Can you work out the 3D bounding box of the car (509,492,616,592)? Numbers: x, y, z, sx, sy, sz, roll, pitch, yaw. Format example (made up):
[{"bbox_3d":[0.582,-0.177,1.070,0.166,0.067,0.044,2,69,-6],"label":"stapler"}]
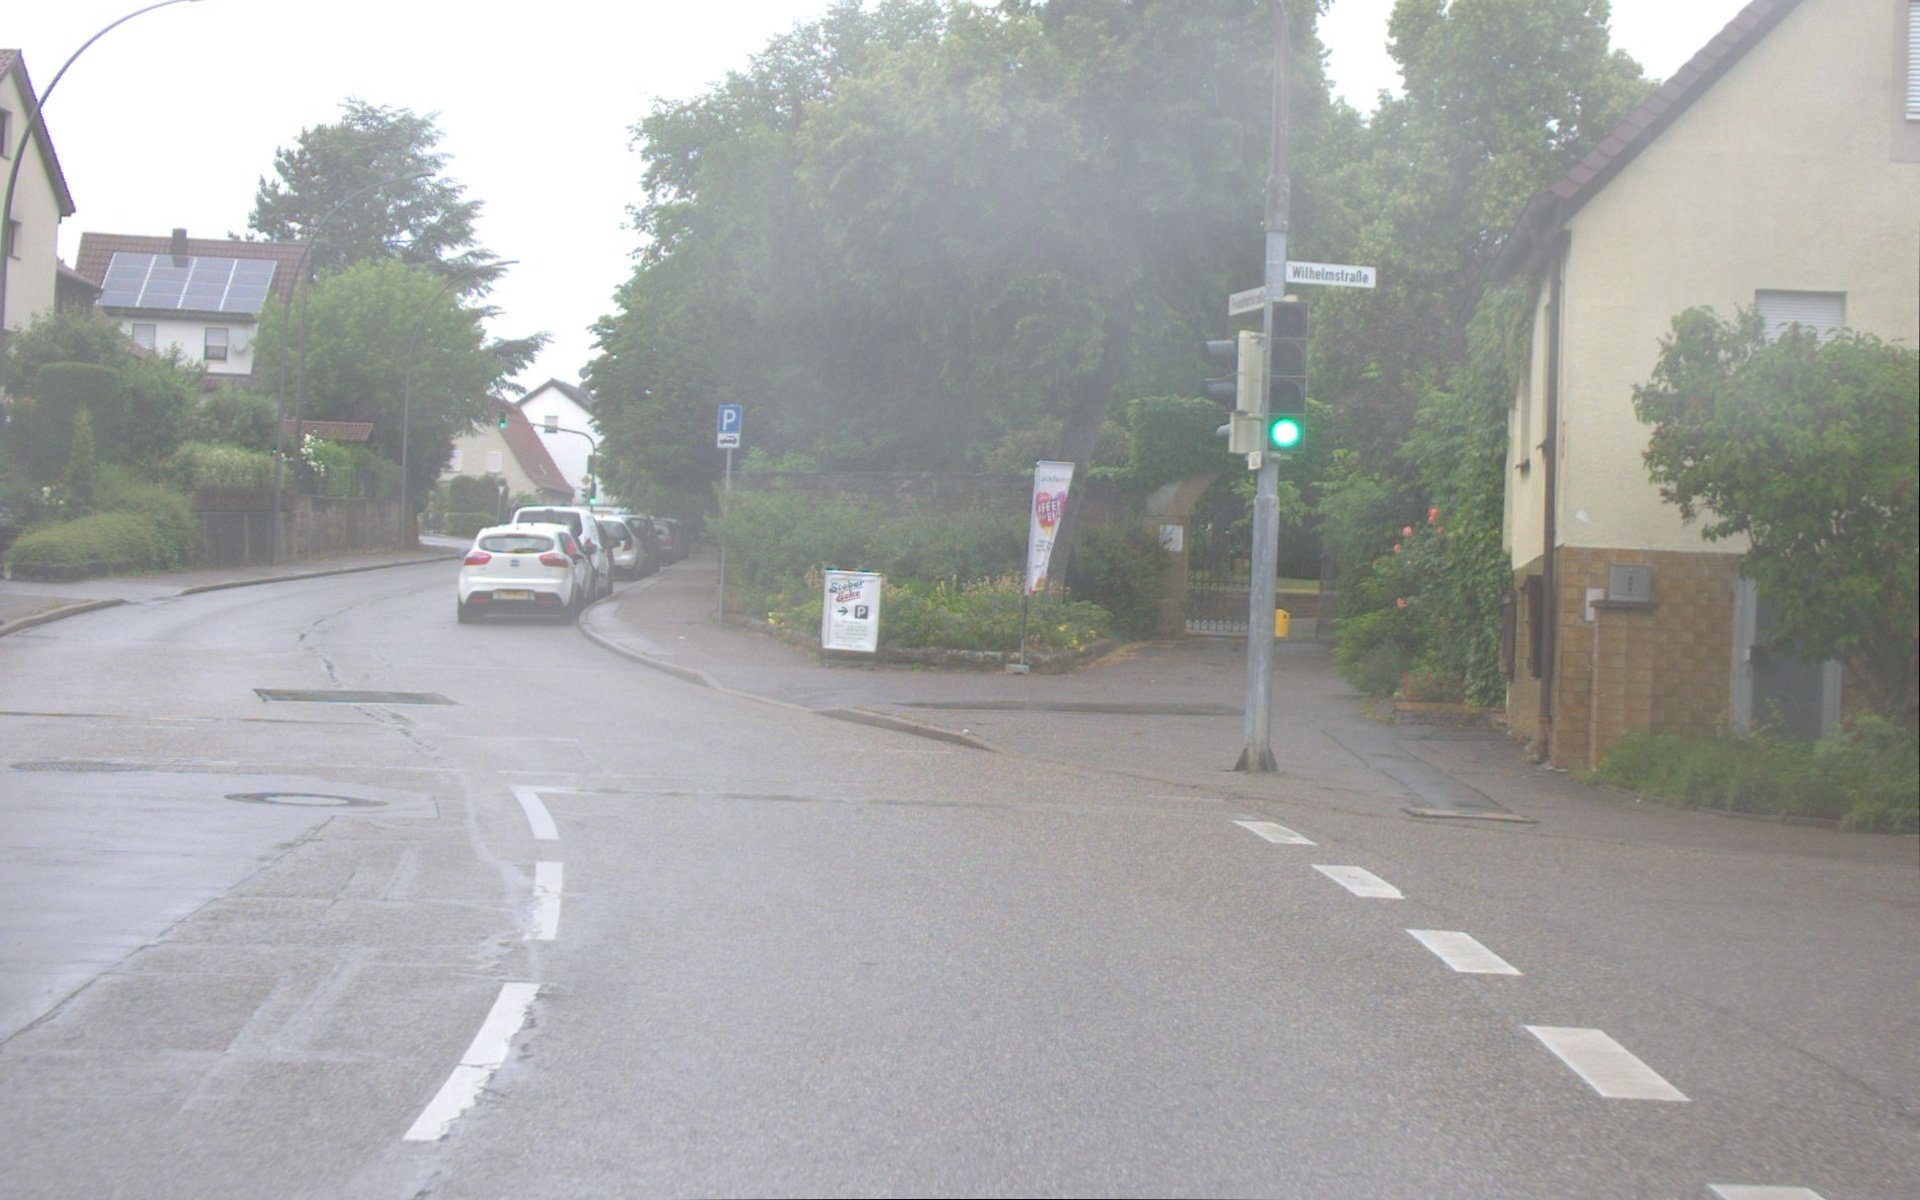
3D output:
[{"bbox_3d":[-7.383,-1.083,64.107,1.637,1.735,4.136,2,1,-3],"label":"car"}]

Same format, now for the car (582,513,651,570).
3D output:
[{"bbox_3d":[-9.175,-1.562,91.987,1.764,1.442,4.697,2,1,-5],"label":"car"}]

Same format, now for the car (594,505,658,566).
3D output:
[{"bbox_3d":[-9.539,-1.835,98.385,1.741,1.662,4.498,2,1,-5],"label":"car"}]

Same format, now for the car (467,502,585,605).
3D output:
[{"bbox_3d":[-6.678,-0.740,53.226,1.611,1.475,4.039,2,1,-5],"label":"car"}]

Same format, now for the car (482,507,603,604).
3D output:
[{"bbox_3d":[-7.051,-0.778,58.351,1.645,1.457,4.001,3,2,-2],"label":"car"}]

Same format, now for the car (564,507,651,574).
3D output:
[{"bbox_3d":[-8.775,-1.481,85.879,1.814,1.568,3.880,2,1,-2],"label":"car"}]

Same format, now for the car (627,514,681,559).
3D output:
[{"bbox_3d":[-9.984,-2.078,112.138,1.651,1.367,4.182,2,1,-5],"label":"car"}]
